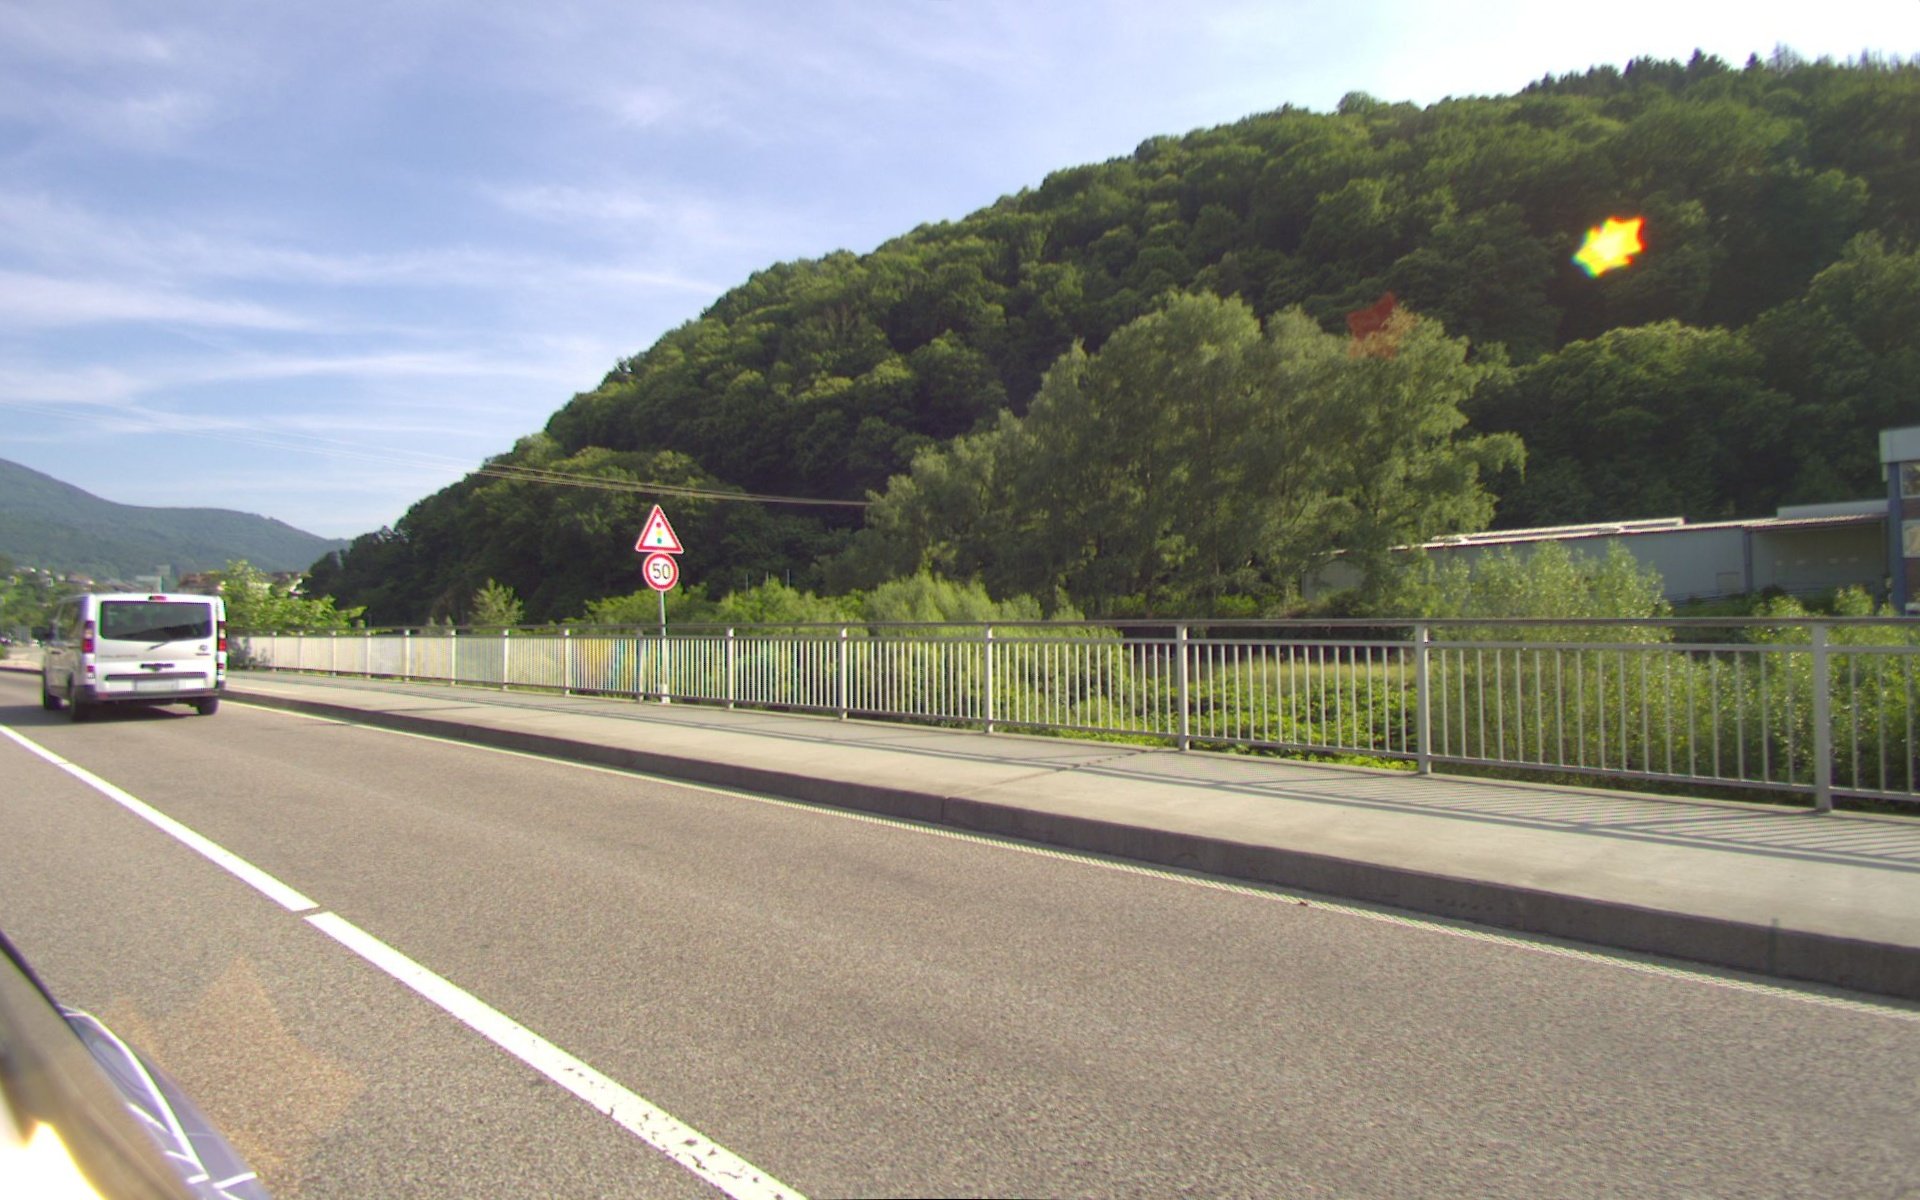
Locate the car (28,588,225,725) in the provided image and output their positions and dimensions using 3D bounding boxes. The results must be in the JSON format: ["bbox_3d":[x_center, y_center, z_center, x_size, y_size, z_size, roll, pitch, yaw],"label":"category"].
[{"bbox_3d":[-14.220,0.882,17.141,5.146,1.982,1.899,-1,-3,43],"label":"car"}]
